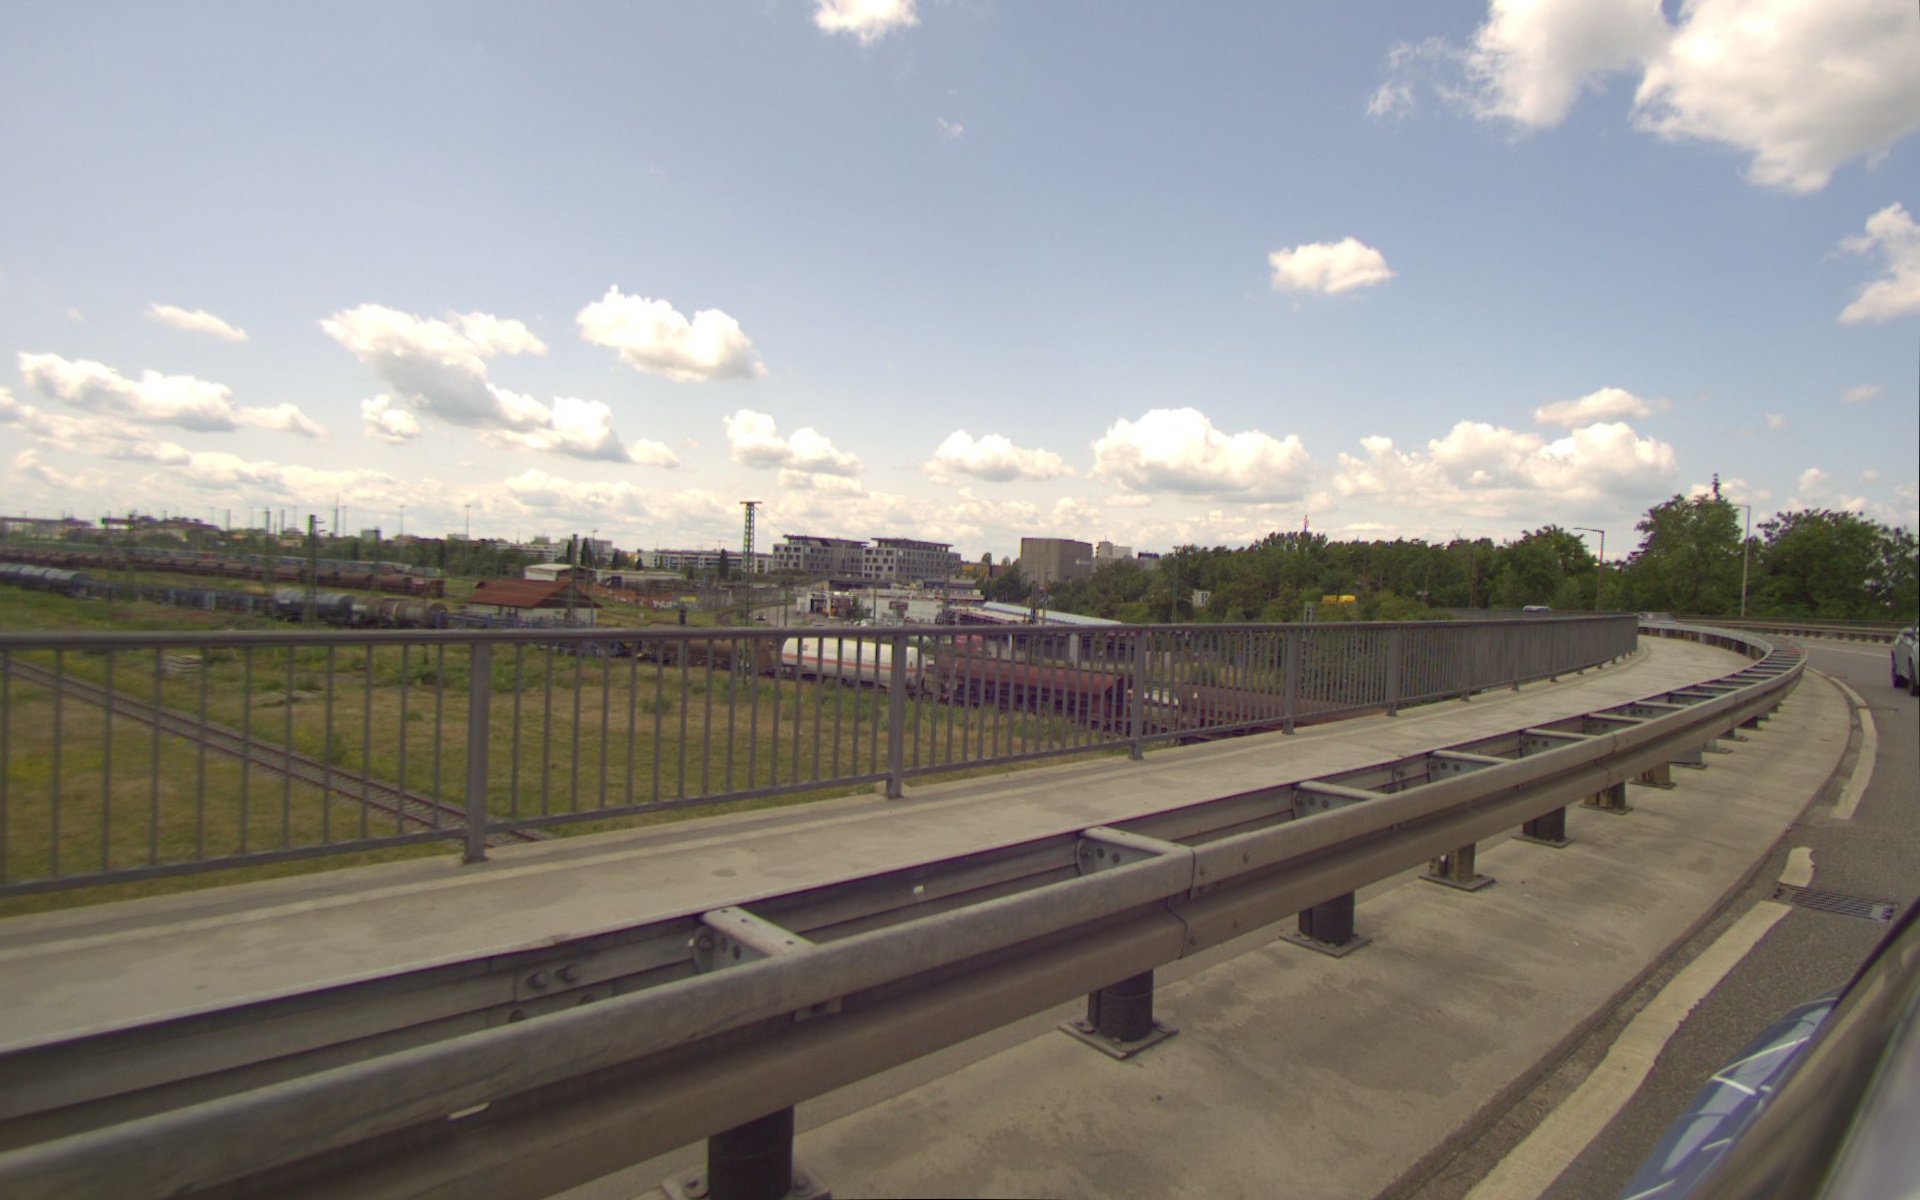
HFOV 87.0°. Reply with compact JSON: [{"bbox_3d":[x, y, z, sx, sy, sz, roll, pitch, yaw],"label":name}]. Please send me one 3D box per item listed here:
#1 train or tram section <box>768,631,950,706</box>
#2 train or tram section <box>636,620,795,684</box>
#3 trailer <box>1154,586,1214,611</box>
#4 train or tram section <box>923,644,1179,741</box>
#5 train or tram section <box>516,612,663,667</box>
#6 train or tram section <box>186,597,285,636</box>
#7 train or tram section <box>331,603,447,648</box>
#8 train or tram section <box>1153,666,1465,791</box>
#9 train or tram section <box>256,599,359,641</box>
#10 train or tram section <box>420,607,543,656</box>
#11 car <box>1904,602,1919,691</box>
[{"bbox_3d":[-8.271,5.110,79.228,16.880,4.202,3.175,3,4,39],"label":"train or tram section"},{"bbox_3d":[-21.985,4.395,89.744,17.593,4.202,3.172,3,4,36],"label":"train or tram section"},{"bbox_3d":[39.364,-0.288,178.672,2.658,4.334,14.257,0,0,-23],"label":"trailer"},{"bbox_3d":[5.474,5.860,67.738,18.823,4.202,3.174,3,4,41],"label":"train or tram section"},{"bbox_3d":[-36.658,3.768,99.488,17.551,4.202,3.180,2,4,31],"label":"train or tram section"},{"bbox_3d":[-93.054,1.967,129.850,15.808,4.202,3.185,2,3,27],"label":"train or tram section"},{"bbox_3d":[-65.078,2.750,115.164,15.808,4.202,3.185,2,3,27],"label":"train or tram section"},{"bbox_3d":[18.351,6.615,55.476,3.090,4.202,16.571,-3,4,-44],"label":"train or tram section"},{"bbox_3d":[-79.080,2.298,122.486,15.820,4.202,3.183,2,4,28],"label":"train or tram section"},{"bbox_3d":[-51.072,3.233,107.817,15.823,4.202,3.182,2,4,29],"label":"train or tram section"},{"bbox_3d":[18.424,0.834,18.256,1.821,1.544,3.941,0,-1,40],"label":"car"}]
